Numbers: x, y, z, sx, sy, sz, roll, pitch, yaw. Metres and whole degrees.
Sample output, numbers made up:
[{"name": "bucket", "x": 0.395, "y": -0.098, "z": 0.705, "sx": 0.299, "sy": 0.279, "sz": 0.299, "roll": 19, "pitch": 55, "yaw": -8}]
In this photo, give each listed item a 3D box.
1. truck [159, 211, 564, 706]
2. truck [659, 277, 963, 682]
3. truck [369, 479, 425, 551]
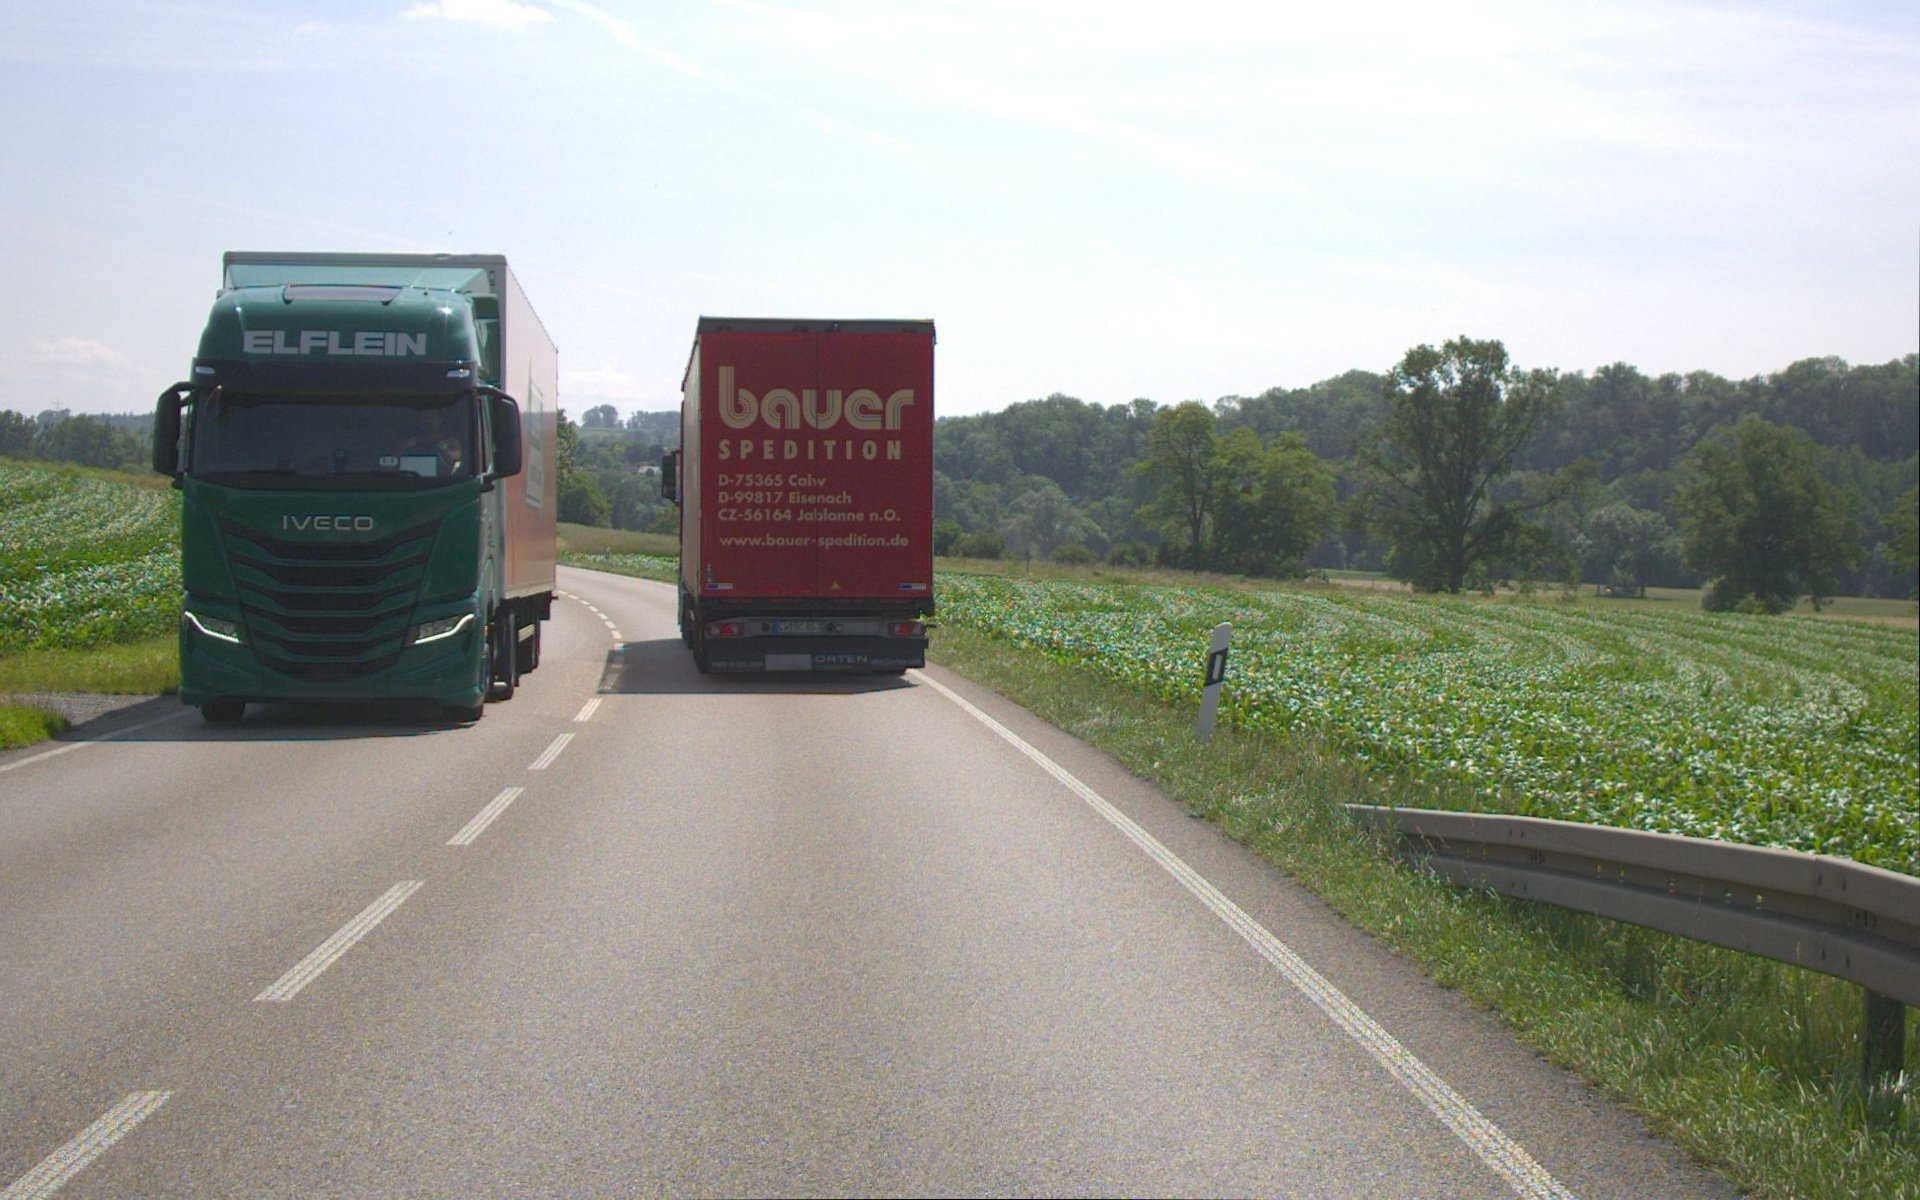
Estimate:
[{"name": "truck", "x": -5.833, "y": -1.314, "z": 36.392, "sx": 2.770, "sy": 3.985, "sz": 17.031, "roll": 0, "pitch": 1, "yaw": -5}, {"name": "truck", "x": -1.935, "y": -1.317, "z": 40.547, "sx": 3.094, "sy": 4.248, "sz": 8.316, "roll": 1, "pitch": 1, "yaw": -6}, {"name": "truck", "x": -32.496, "y": -4.886, "z": 197.926, "sx": 2.826, "sy": 3.979, "sz": 16.538, "roll": -1, "pitch": 1, "yaw": -10}]
